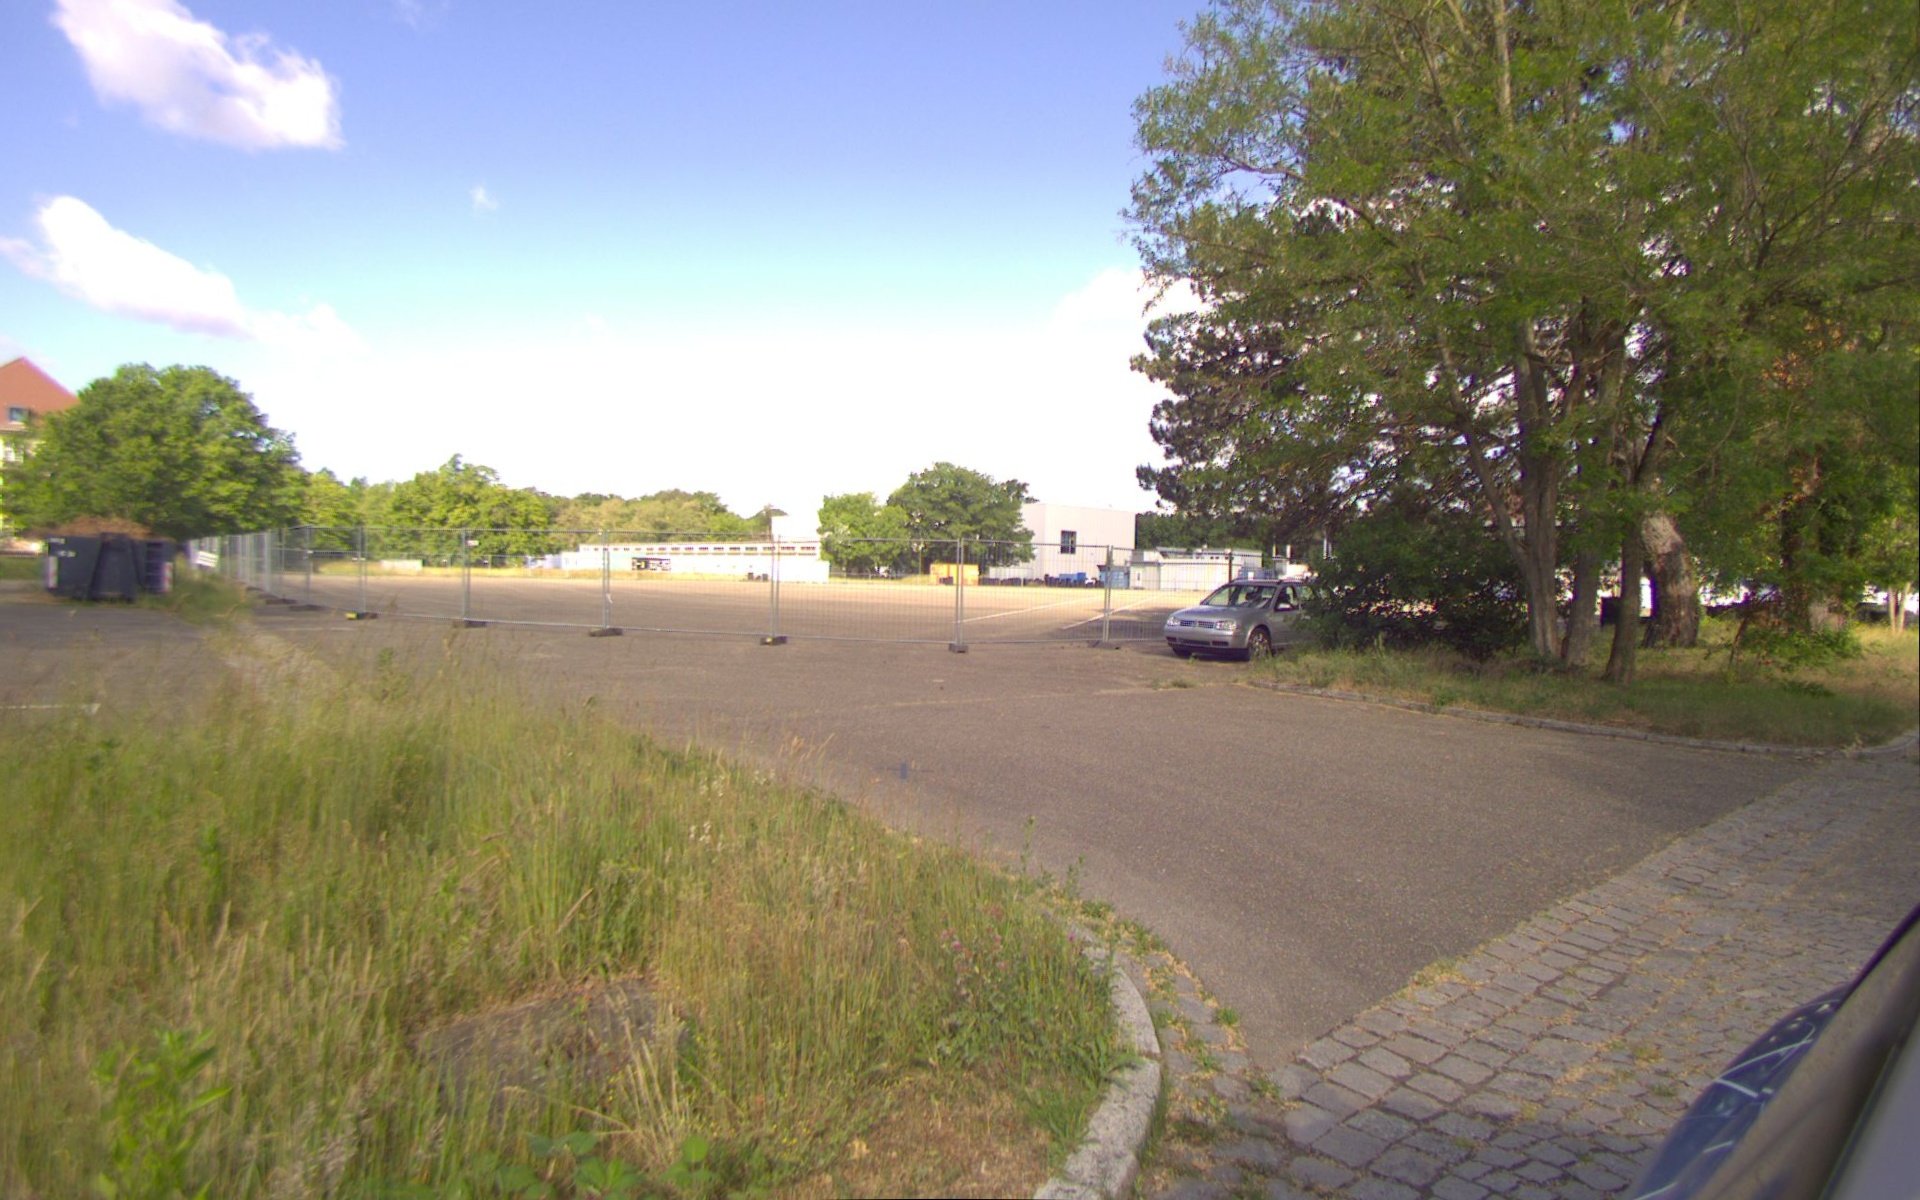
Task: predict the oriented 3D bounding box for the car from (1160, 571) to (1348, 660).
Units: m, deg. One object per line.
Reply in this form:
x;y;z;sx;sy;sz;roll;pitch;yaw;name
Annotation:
5.541;0.243;18.813;3.920;1.461;1.576;0;2;-43;car
